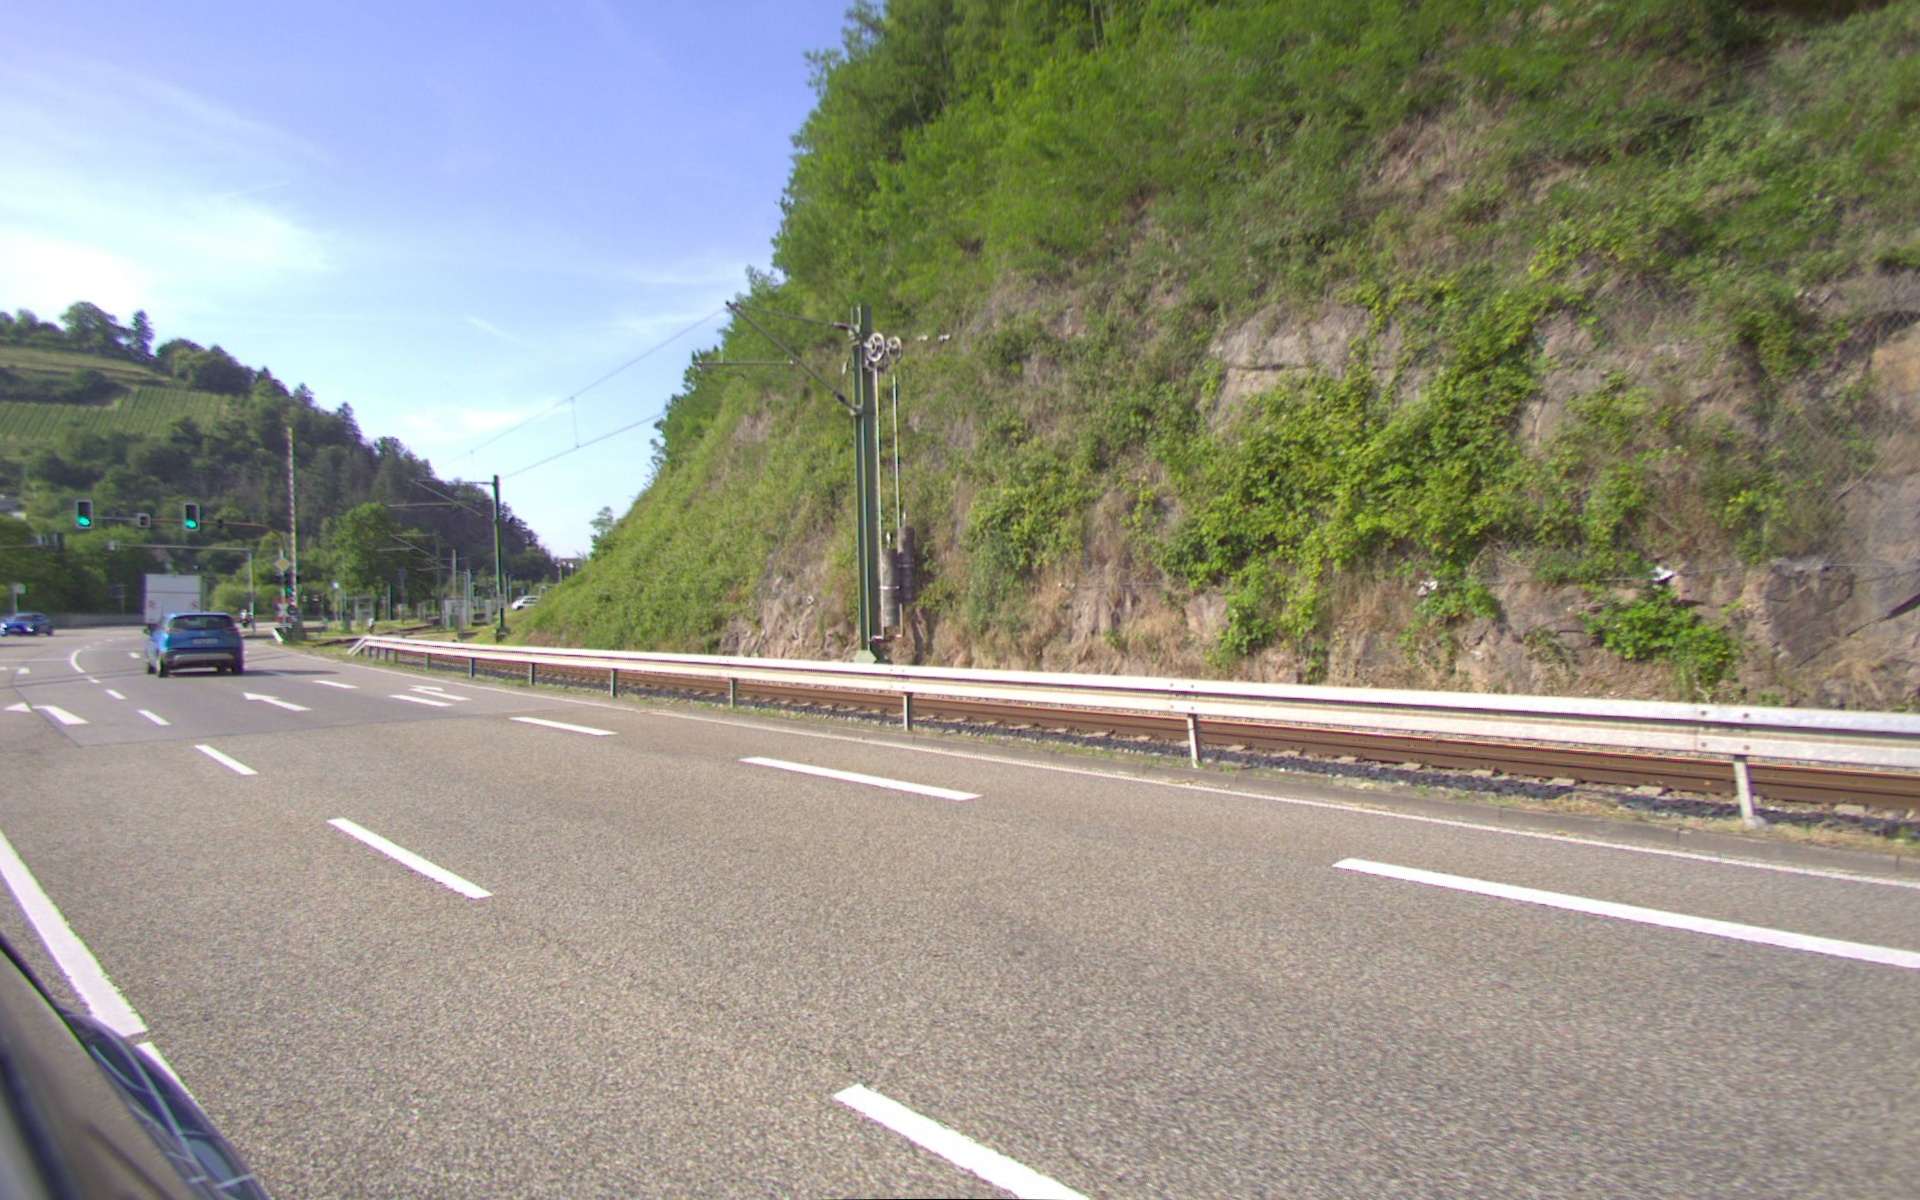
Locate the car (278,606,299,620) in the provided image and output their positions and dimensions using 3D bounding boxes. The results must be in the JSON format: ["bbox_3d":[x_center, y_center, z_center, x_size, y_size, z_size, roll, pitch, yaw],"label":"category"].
[{"bbox_3d":[-82.117,1.599,123.792,1.668,1.669,4.185,-1,0,-27],"label":"car"}]

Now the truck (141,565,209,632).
[{"bbox_3d":[-48.211,-0.072,62.320,2.858,3.827,8.916,0,0,-35],"label":"truck"}]

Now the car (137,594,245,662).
[{"bbox_3d":[-19.674,0.706,25.825,1.698,1.582,4.138,0,-1,-44],"label":"car"}]

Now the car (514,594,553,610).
[{"bbox_3d":[-48.278,0.203,114.597,3.931,1.763,1.645,0,-1,-18],"label":"car"}]

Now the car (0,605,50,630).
[{"bbox_3d":[-58.656,1.108,63.334,1.837,1.503,4.011,0,-1,-32],"label":"car"}]

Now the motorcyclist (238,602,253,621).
[{"bbox_3d":[-67.253,1.105,95.221,0.992,1.728,0.868,0,-1,-23],"label":"motorcyclist"}]
